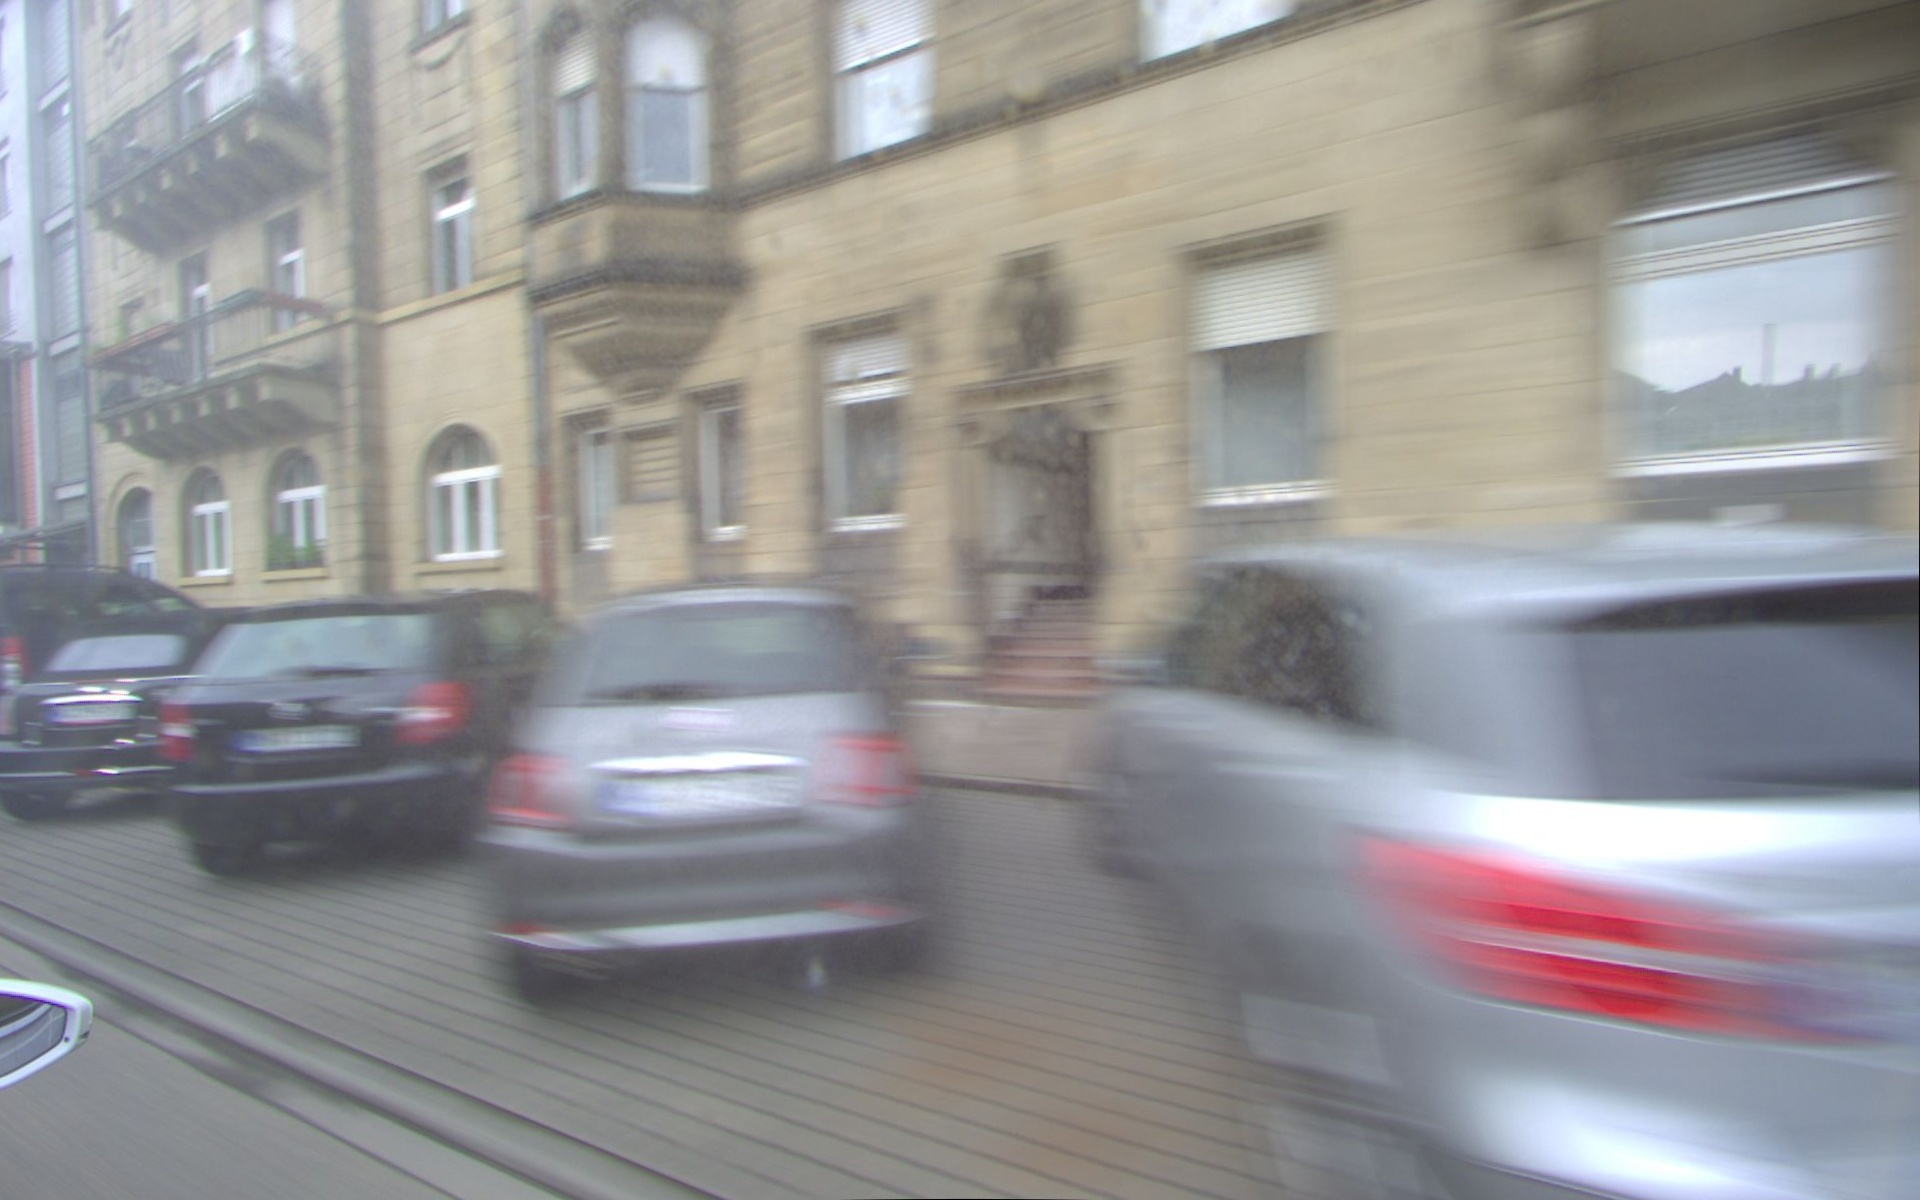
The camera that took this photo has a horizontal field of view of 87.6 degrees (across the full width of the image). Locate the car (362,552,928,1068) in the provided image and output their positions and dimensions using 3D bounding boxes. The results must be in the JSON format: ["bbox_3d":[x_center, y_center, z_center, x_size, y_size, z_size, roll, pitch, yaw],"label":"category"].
[{"bbox_3d":[-1.218,0.585,5.432,1.714,1.596,4.461,-1,2,-6],"label":"car"}]

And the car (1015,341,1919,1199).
[{"bbox_3d":[1.468,0.466,3.670,1.899,1.708,4.749,-3,1,-4],"label":"car"}]

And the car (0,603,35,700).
[{"bbox_3d":[-16.064,0.902,14.136,1.652,1.499,4.256,-1,3,8],"label":"car"}]

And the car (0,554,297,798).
[{"bbox_3d":[-8.697,0.548,9.923,1.844,1.933,4.277,-1,2,-9],"label":"car"}]

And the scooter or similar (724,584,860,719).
[{"bbox_3d":[-1.617,0.494,9.598,1.202,1.204,0.432,-3,5,33],"label":"scooter or similar"}]

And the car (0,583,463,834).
[{"bbox_3d":[-6.172,0.699,8.666,1.993,1.474,4.066,-3,3,-6],"label":"car"}]

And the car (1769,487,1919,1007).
[{"bbox_3d":[4.110,0.469,1.754,1.879,1.705,4.223,-2,1,-2],"label":"car"}]

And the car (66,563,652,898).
[{"bbox_3d":[-3.584,0.611,7.110,1.816,1.573,4.463,-1,1,-6],"label":"car"}]

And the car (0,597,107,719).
[{"bbox_3d":[-13.675,0.830,12.823,1.894,1.555,3.996,-1,3,3],"label":"car"}]

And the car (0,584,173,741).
[{"bbox_3d":[-11.343,0.700,11.516,1.732,1.624,3.995,-1,3,-8],"label":"car"}]
